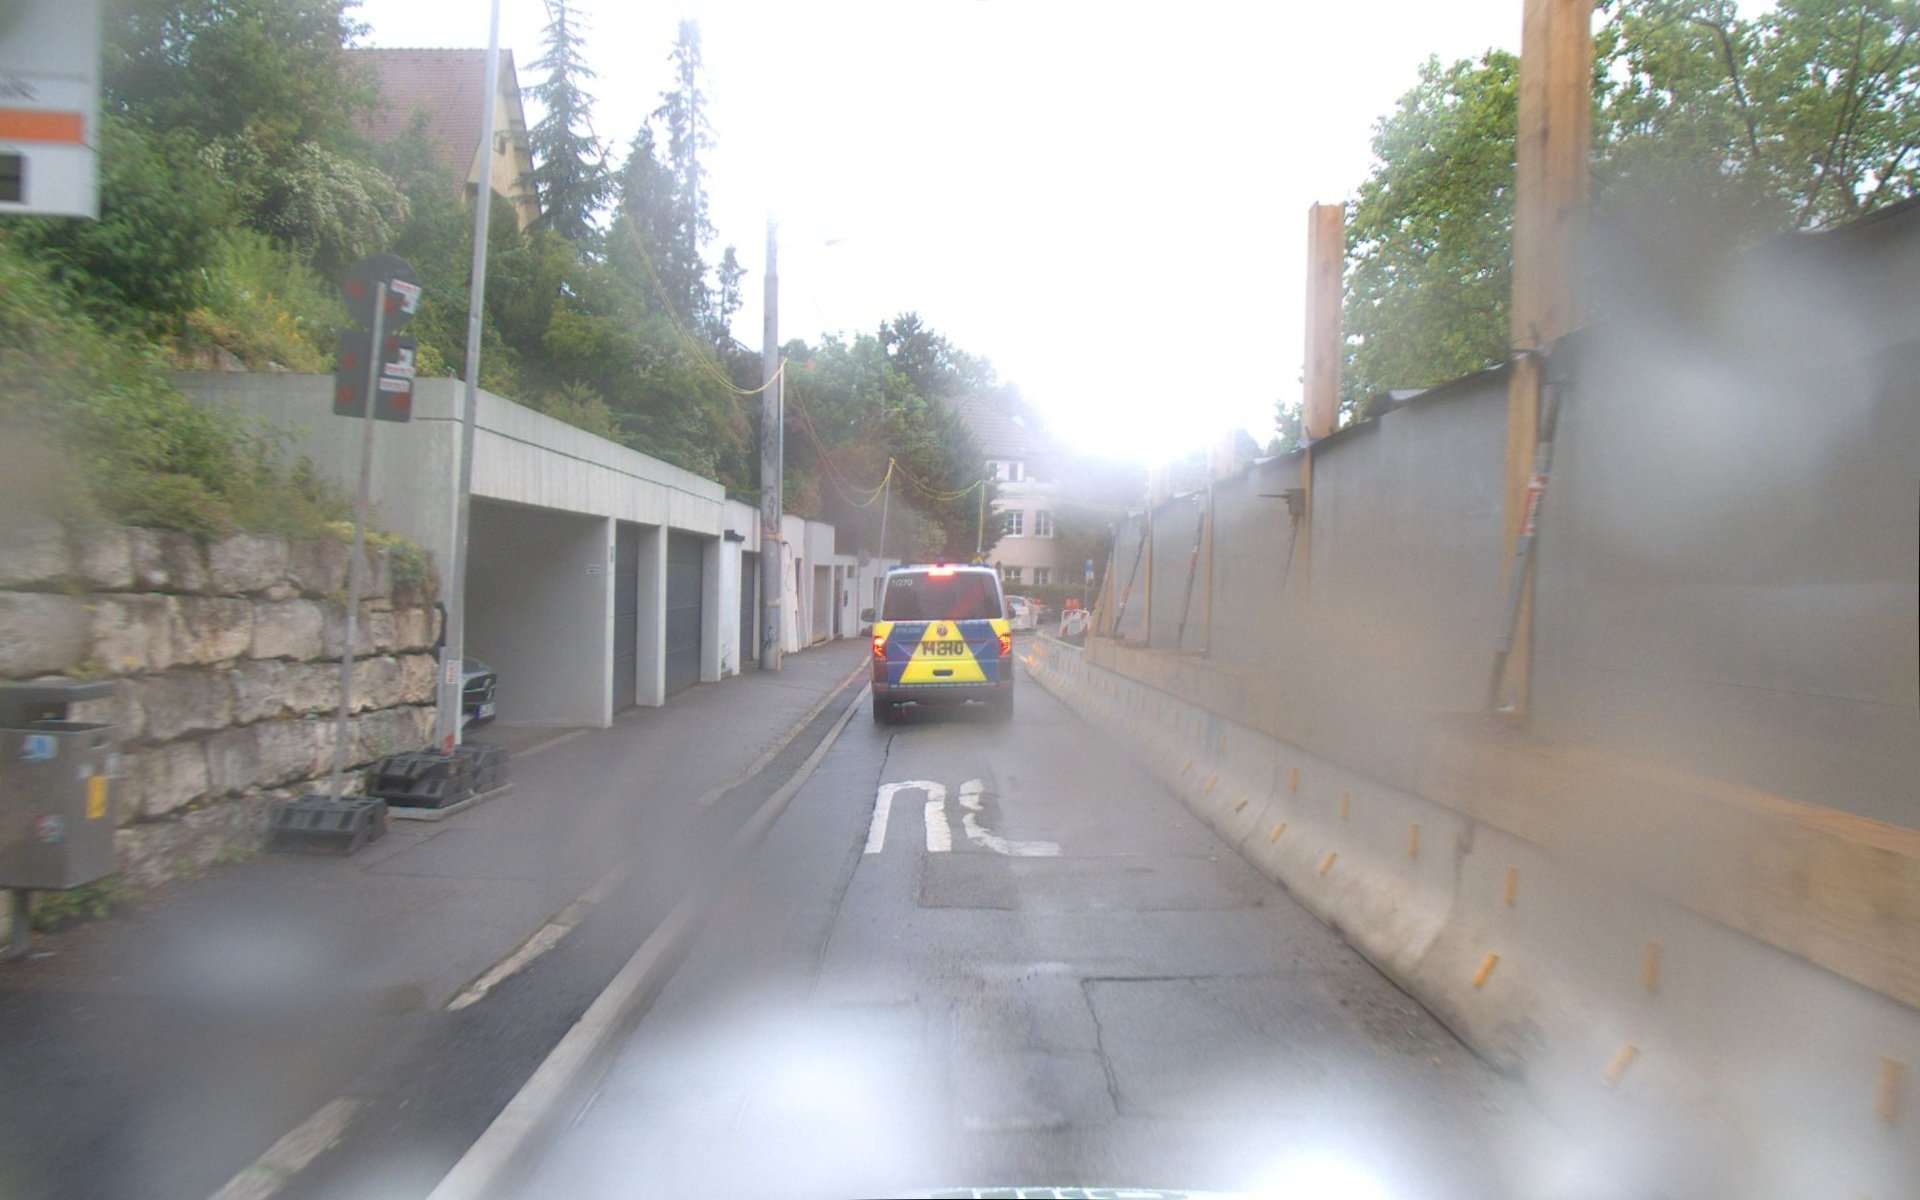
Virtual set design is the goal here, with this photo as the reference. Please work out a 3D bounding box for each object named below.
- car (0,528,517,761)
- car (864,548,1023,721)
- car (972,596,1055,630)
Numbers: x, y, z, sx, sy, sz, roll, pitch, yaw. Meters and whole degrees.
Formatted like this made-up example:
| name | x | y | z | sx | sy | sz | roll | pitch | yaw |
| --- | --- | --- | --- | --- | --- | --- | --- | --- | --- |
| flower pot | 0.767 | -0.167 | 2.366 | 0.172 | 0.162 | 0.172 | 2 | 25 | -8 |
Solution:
| name | x | y | z | sx | sy | sz | roll | pitch | yaw |
| --- | --- | --- | --- | --- | --- | --- | --- | --- | --- |
| car | -6.353 | 0.361 | 14.485 | 4.312 | 1.736 | 2.110 | 2 | -1 | -2 |
| car | -0.244 | 0.447 | 22.530 | 1.869 | 2.045 | 4.438 | 2 | -1 | -1 |
| car | 2.762 | 0.669 | 85.538 | 3.912 | 1.544 | 1.725 | 2 | -1 | 30 |
